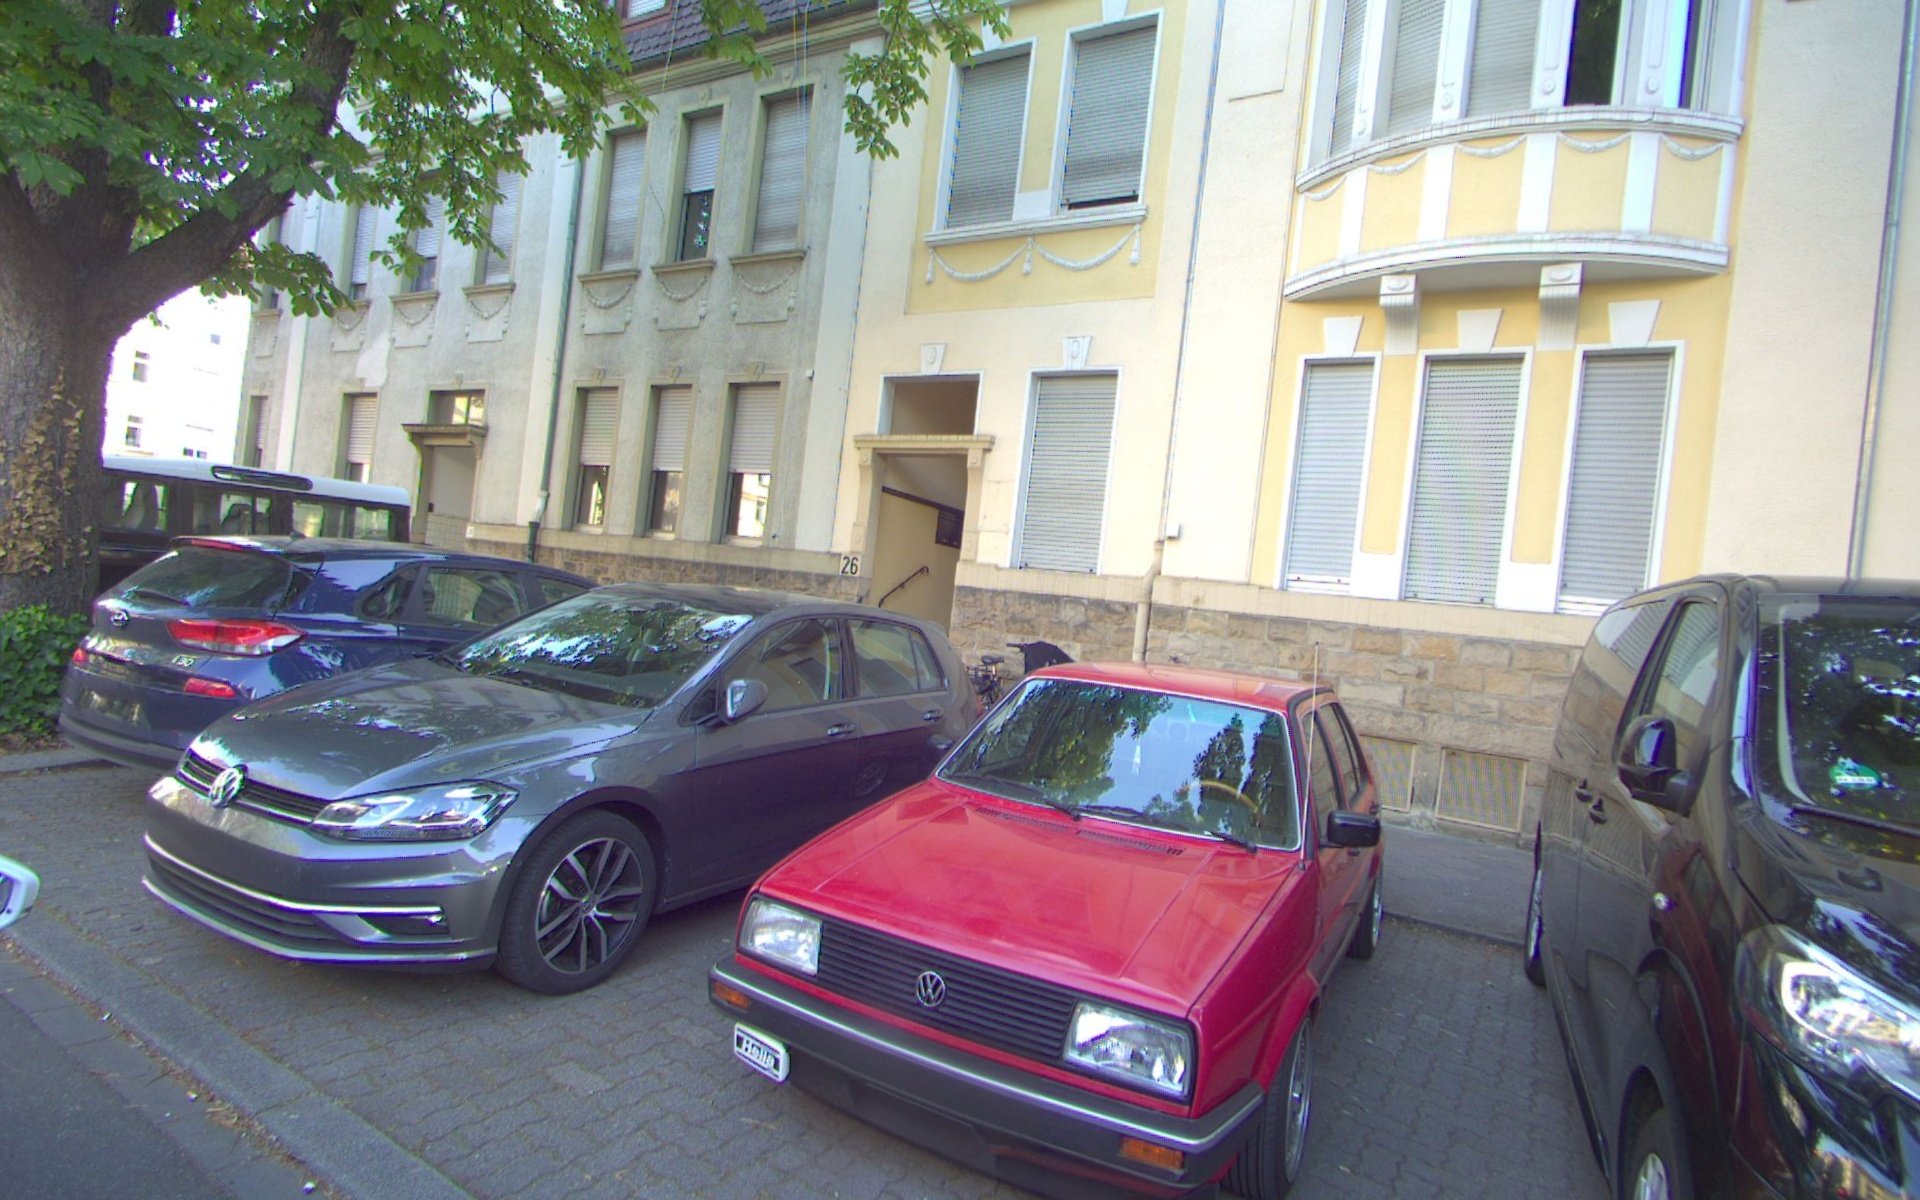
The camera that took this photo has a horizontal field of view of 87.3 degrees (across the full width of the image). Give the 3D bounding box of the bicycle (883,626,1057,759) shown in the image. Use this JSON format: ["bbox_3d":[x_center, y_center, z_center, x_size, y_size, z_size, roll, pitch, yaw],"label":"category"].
[{"bbox_3d":[0.081,0.908,10.290,1.675,1.090,0.500,7,2,32],"label":"bicycle"}]

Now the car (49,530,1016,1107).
[{"bbox_3d":[-1.380,0.646,4.802,1.600,1.440,4.054,6,0,29],"label":"car"}]

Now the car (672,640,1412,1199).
[{"bbox_3d":[0.831,0.938,4.213,1.532,1.337,3.916,6,0,29],"label":"car"}]

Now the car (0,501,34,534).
[{"bbox_3d":[-36.487,-3.249,36.928,1.357,1.081,3.370,7,-1,30],"label":"car"}]

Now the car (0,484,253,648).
[{"bbox_3d":[-10.075,-0.400,10.895,1.680,1.606,3.489,7,0,25],"label":"car"}]

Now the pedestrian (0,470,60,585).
[{"bbox_3d":[-16.109,-1.236,17.304,0.565,1.867,0.633,7,0,28],"label":"pedestrian"}]

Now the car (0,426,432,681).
[{"bbox_3d":[-7.614,-0.381,9.316,1.762,1.981,4.496,7,1,29],"label":"car"}]

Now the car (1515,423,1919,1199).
[{"bbox_3d":[2.885,0.898,2.950,1.848,1.847,4.829,6,0,27],"label":"car"}]

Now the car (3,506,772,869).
[{"bbox_3d":[-3.042,0.416,6.177,1.600,1.440,3.754,6,0,29],"label":"car"}]
